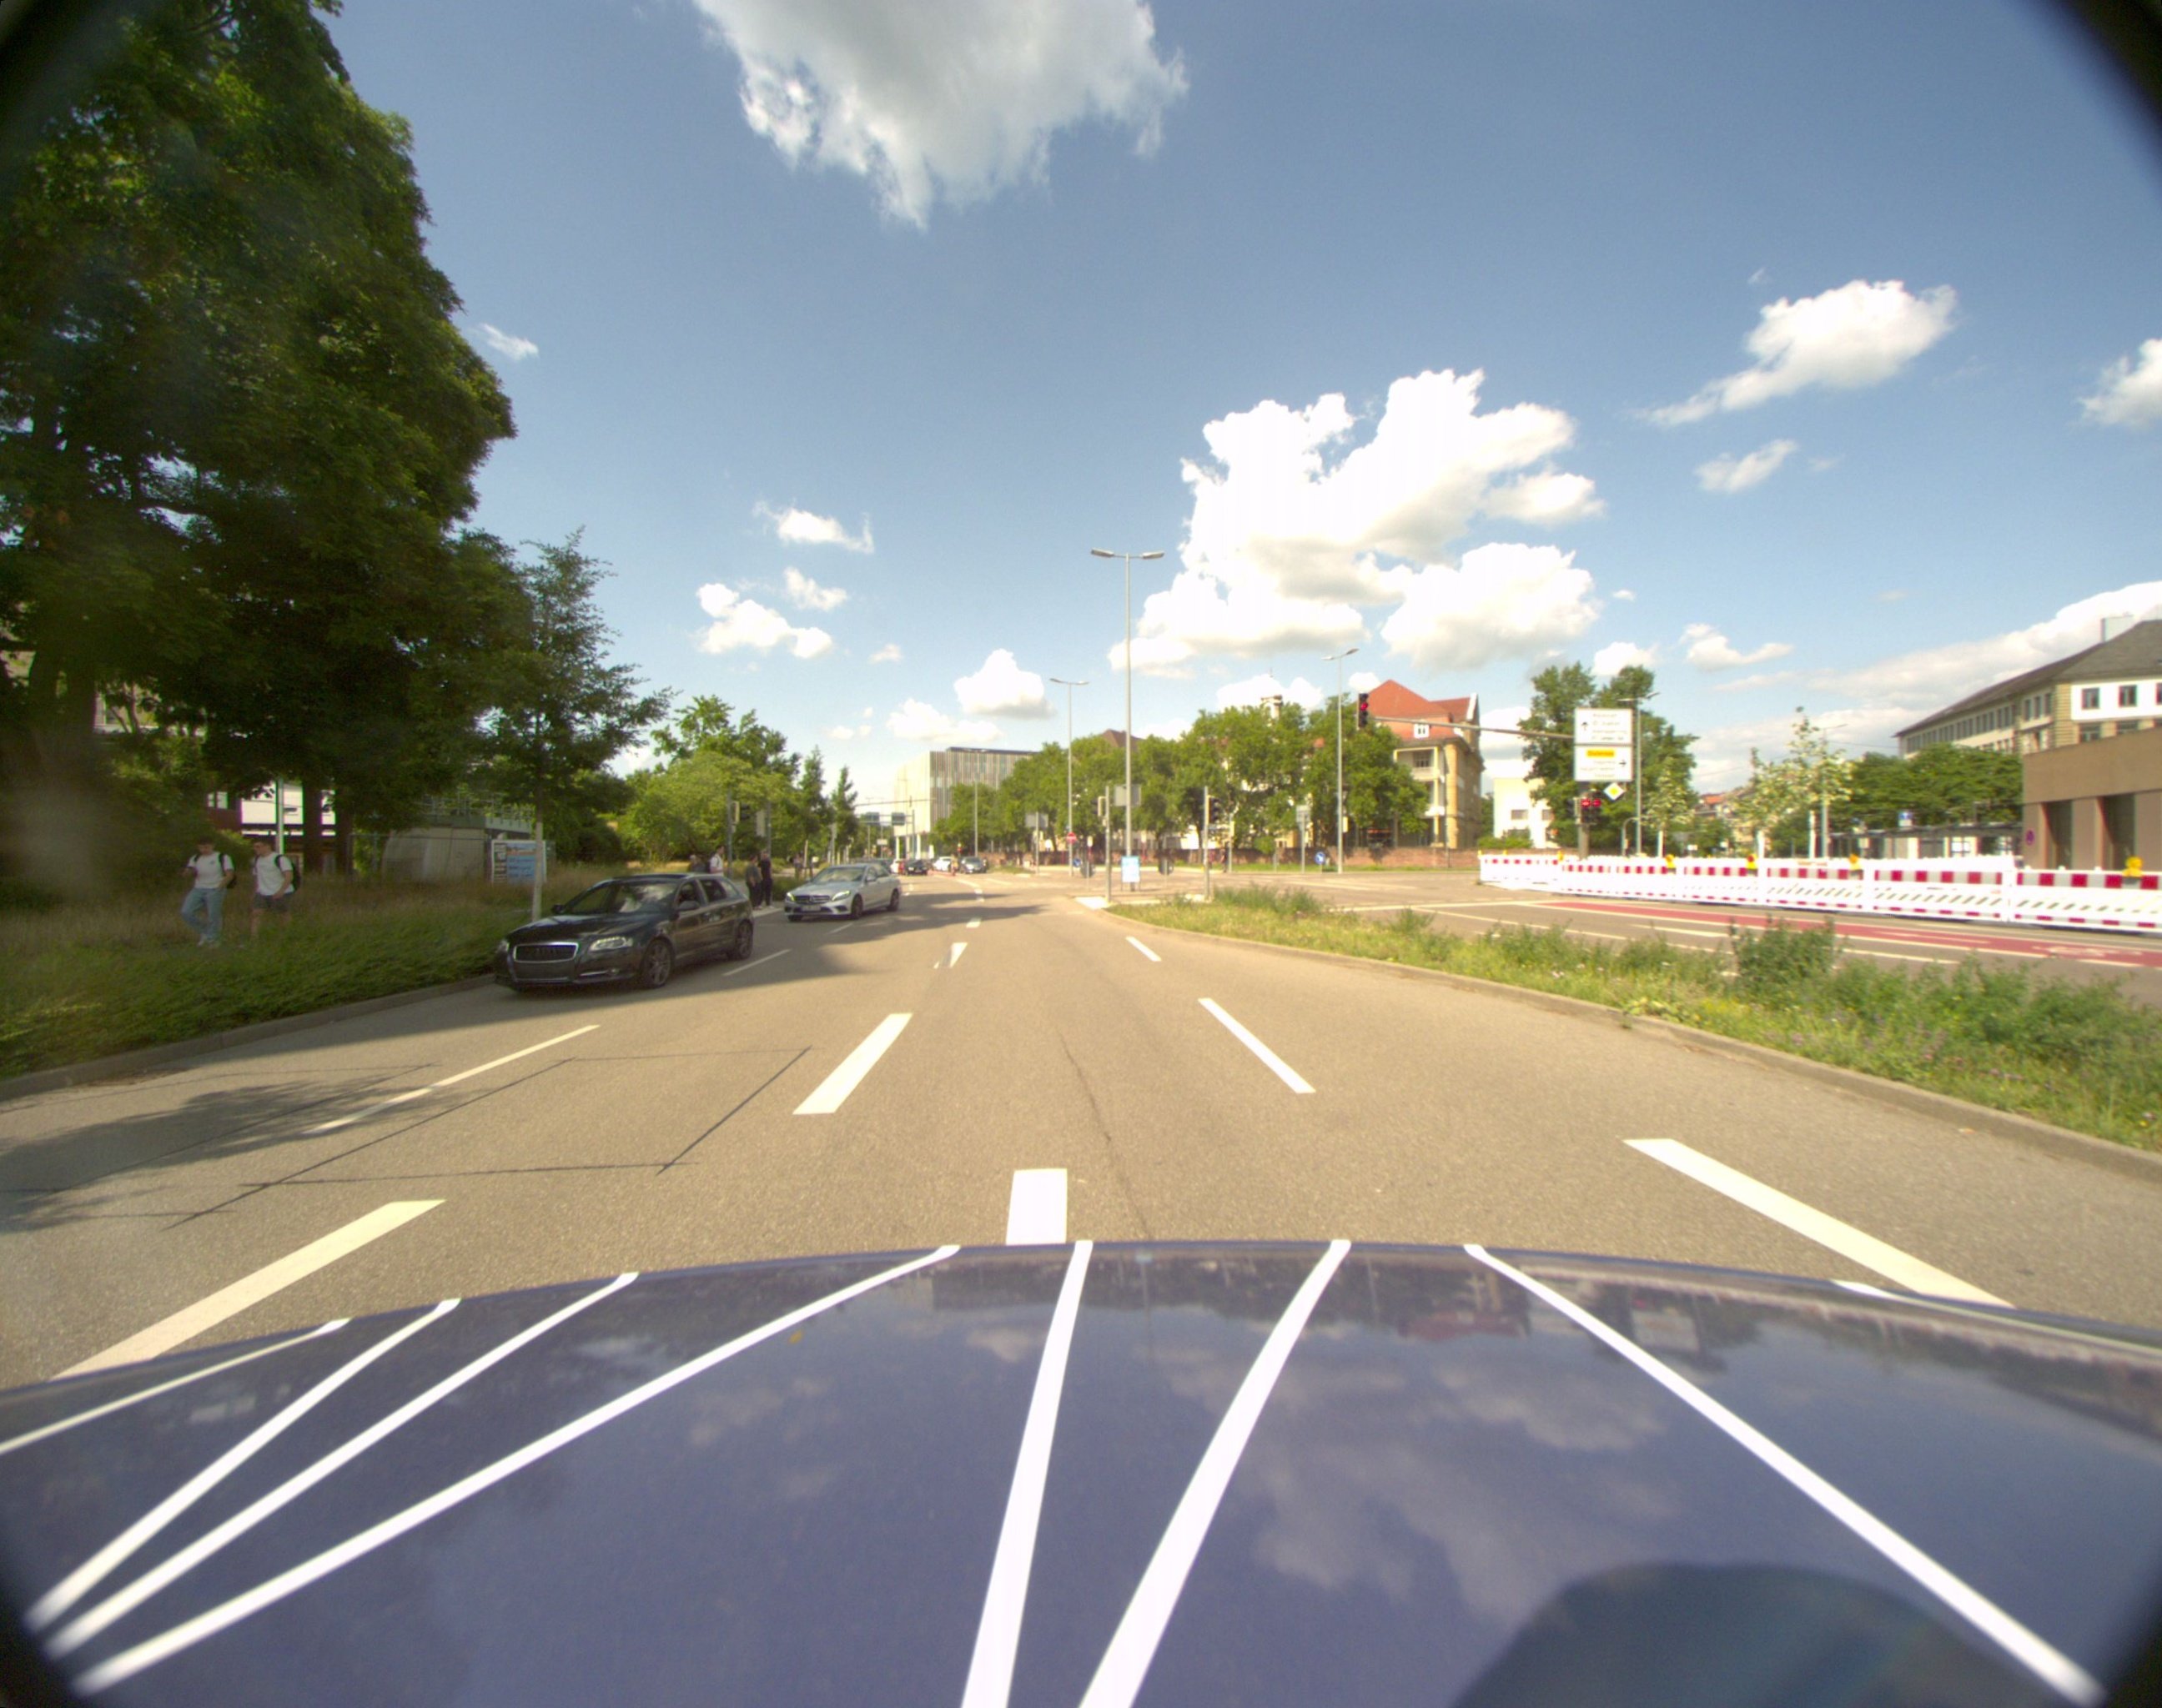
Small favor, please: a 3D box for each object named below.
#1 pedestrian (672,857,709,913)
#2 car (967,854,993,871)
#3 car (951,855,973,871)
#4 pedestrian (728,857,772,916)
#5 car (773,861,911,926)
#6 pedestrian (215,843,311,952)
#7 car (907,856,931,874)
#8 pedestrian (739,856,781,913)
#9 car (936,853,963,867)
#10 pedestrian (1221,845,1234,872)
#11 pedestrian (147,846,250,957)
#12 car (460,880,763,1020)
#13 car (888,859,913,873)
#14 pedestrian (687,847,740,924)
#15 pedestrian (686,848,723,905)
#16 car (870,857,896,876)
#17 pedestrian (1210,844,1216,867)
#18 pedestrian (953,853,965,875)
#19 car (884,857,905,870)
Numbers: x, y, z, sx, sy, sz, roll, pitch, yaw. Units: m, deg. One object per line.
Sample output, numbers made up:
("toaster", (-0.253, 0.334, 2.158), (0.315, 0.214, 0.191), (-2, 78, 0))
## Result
("pedestrian", (-12.336, 0.961, 24.047), (0.768, 1.725, 0.718), (-2, 1, -8))
("car", (-8.675, 0.691, 65.256), (2.000, 1.368, 4.265), (-2, 1, -10))
("car", (-11.274, 0.842, 71.963), (1.734, 1.327, 3.784), (-2, 1, -13))
("pedestrian", (-10.072, 0.975, 23.161), (0.928, 1.725, 0.768), (-2, 1, -2))
("car", (-6.427, 1.002, 21.111), (1.934, 1.447, 4.760), (-1, 1, 5))
("pedestrian", (-13.271, 0.682, 12.357), (0.616, 1.690, 0.889), (2, 1, -5))
("car", (-13.736, 0.877, 64.284), (1.828, 1.454, 3.995), (-1, 0, -14))
("pedestrian", (-10.094, 0.943, 23.938), (0.928, 1.725, 0.768), (-2, 1, -2))
("car", (-13.648, 0.635, 78.650), (1.781, 1.346, 3.992), (-2, 1, -23))
("pedestrian", (11.147, 0.344, 57.822), (0.582, 1.982, 0.621), (-3, 1, -27))
("pedestrian", (-14.058, 0.723, 12.130), (0.616, 1.690, 0.889), (2, 1, -5))
("car", (-6.135, 1.147, 10.607), (1.703, 1.364, 4.132), (-1, 0, -1))
("car", (-16.348, 1.054, 68.764), (1.600, 1.127, 3.622), (-1, 0, -23))
("pedestrian", (-9.930, 0.838, 20.575), (0.965, 2.002, 0.768), (-2, 1, -2))
("pedestrian", (-11.644, 0.681, 23.532), (0.768, 1.725, 0.718), (-2, 1, -8))
("car", (-16.199, 1.016, 62.319), (1.827, 1.454, 3.995), (-1, 0, -12))
("pedestrian", (10.340, 0.123, 59.526), (0.369, 1.722, 0.451), (-2, 1, 6))
("pedestrian", (-9.666, 0.769, 60.217), (0.739, 1.704, 0.874), (-3, 1, -22))
("car", (-18.416, 0.927, 75.109), (1.911, 1.127, 4.096), (-1, 2, -13))
